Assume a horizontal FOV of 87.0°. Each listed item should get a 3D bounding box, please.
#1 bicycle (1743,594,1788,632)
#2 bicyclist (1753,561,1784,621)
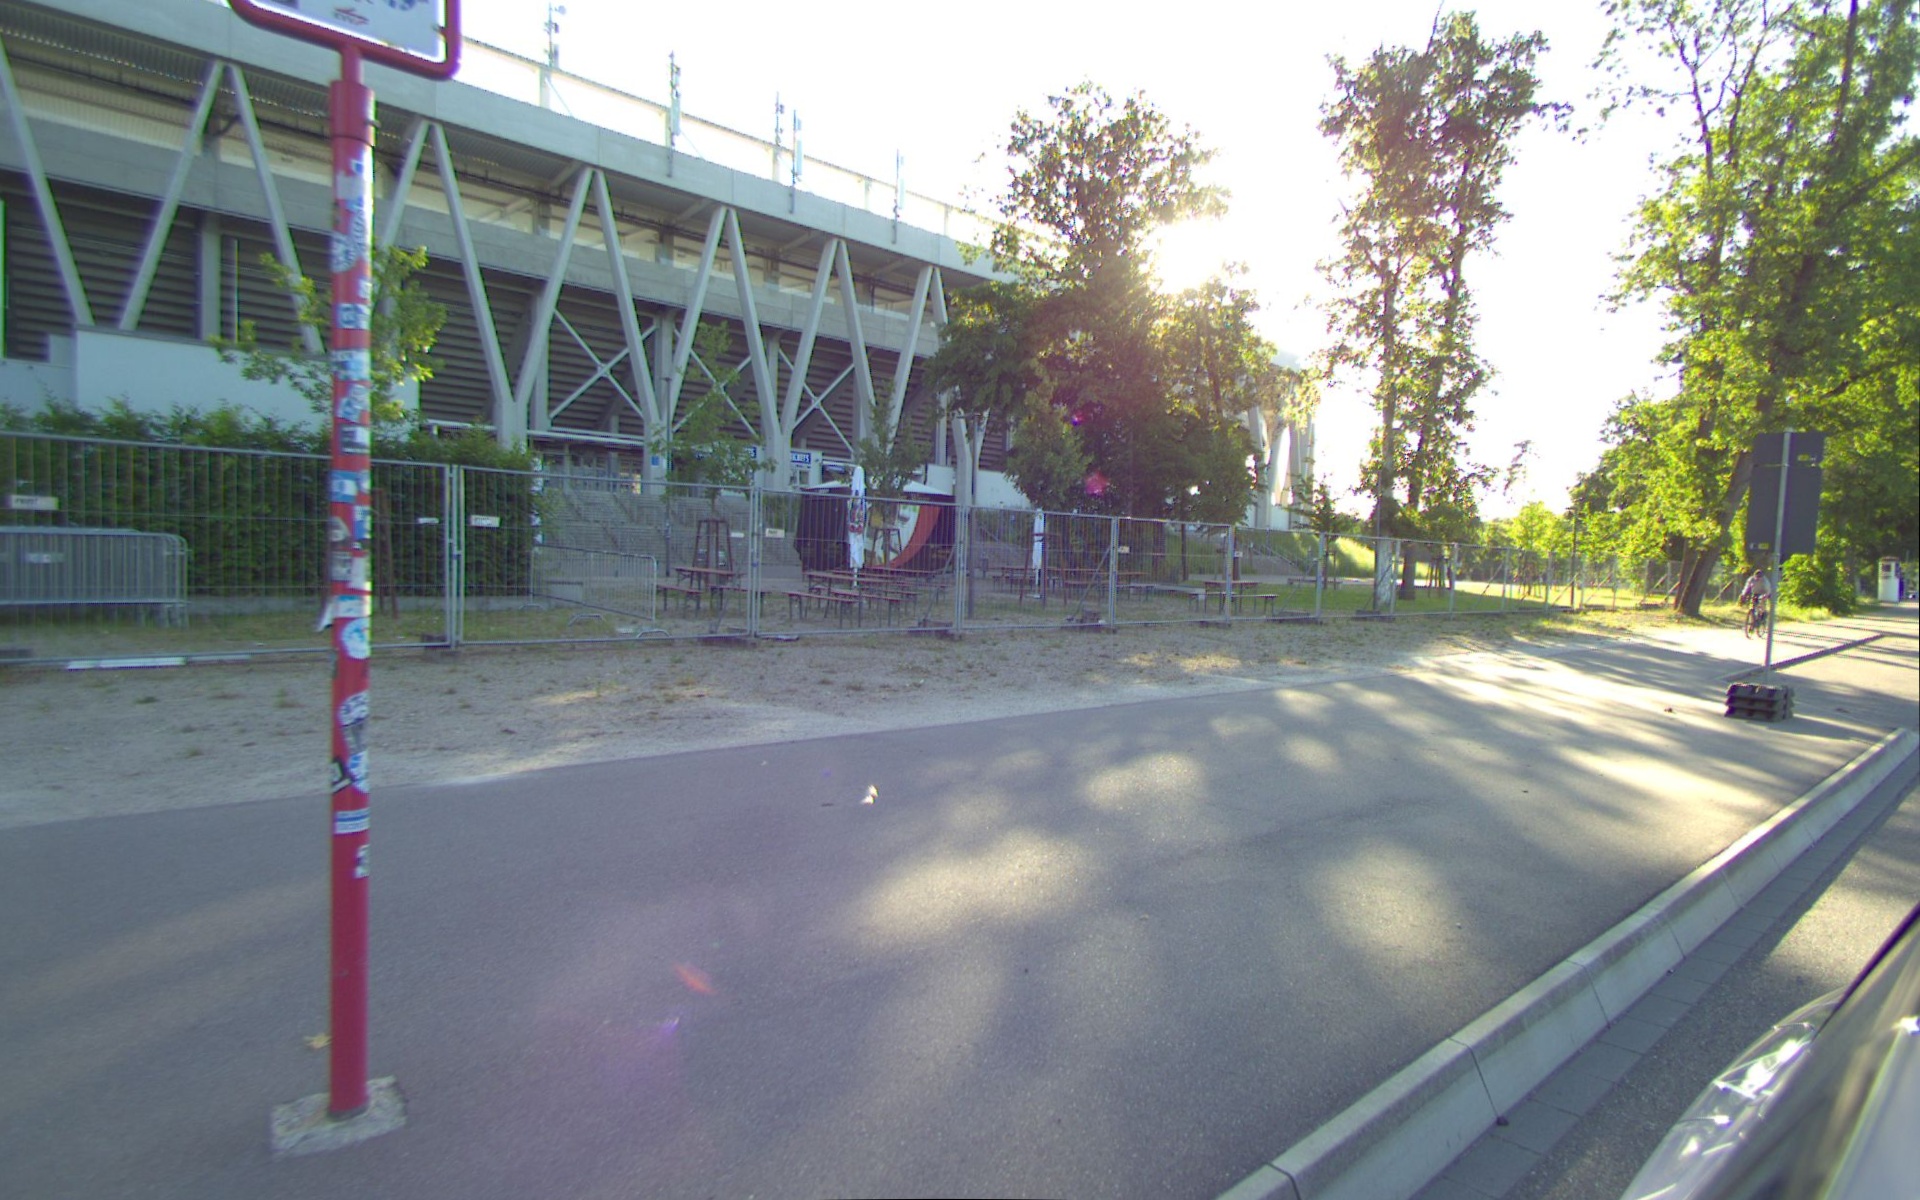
[{"bbox_3d":[19.604,0.298,24.612,1.876,0.869,0.481,-1,3,-41],"label":"bicycle"},{"bbox_3d":[19.730,-0.231,24.691,0.565,1.438,0.451,-1,3,-40],"label":"bicyclist"}]
